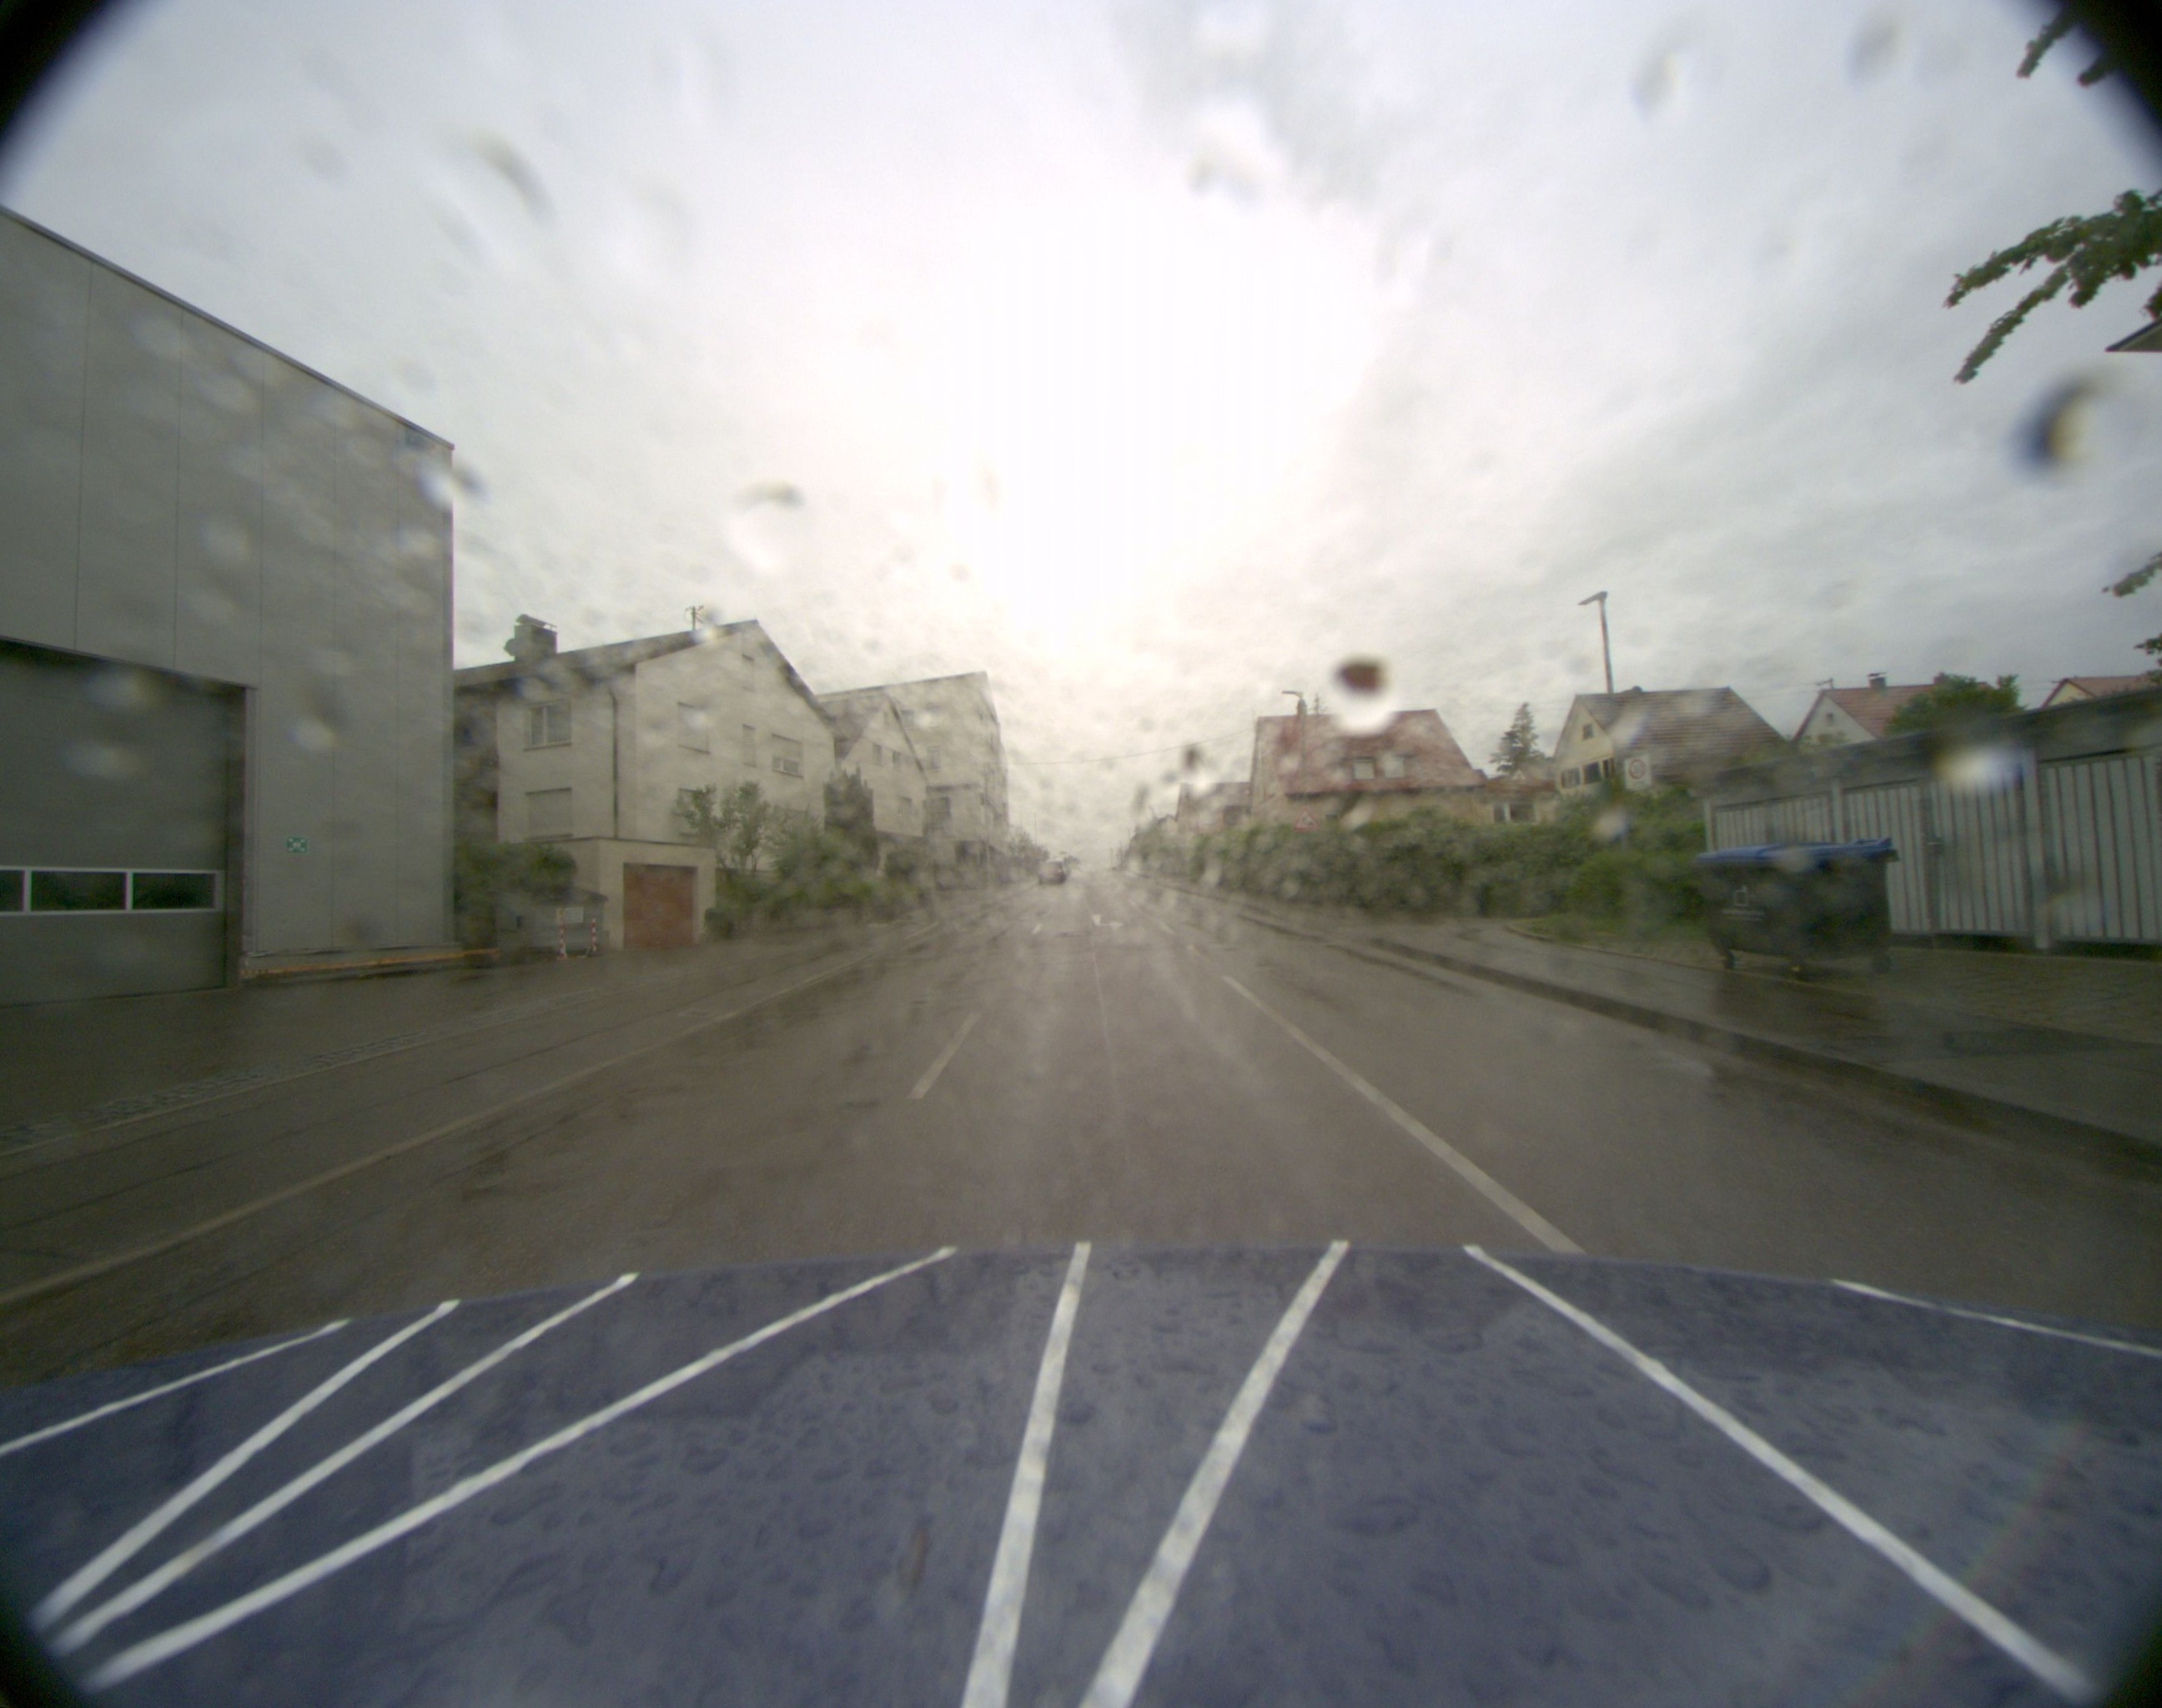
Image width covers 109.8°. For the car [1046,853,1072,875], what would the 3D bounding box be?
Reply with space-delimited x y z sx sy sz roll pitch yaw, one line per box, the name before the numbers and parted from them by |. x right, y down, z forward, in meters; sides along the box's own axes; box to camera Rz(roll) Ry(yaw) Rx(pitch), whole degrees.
car | -1.977 0.879 69.925 1.998 1.923 4.976 -3 0 1

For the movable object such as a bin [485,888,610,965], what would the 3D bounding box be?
movable object such as a bin | -11.505 1.525 16.467 1.263 1.509 1.781 -1 0 16

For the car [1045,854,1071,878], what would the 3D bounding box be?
car | -1.926 0.982 64.147 1.883 1.823 4.489 -3 0 1

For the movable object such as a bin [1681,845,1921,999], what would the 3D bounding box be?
movable object such as a bin | 7.134 0.625 7.634 1.074 1.339 1.319 -4 0 -1

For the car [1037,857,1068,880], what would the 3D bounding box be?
car | -2.147 1.069 58.921 1.998 1.635 4.958 -3 0 1

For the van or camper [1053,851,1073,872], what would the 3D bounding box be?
van or camper | -1.926 0.817 83.662 1.998 2.101 5.203 -2 0 0
